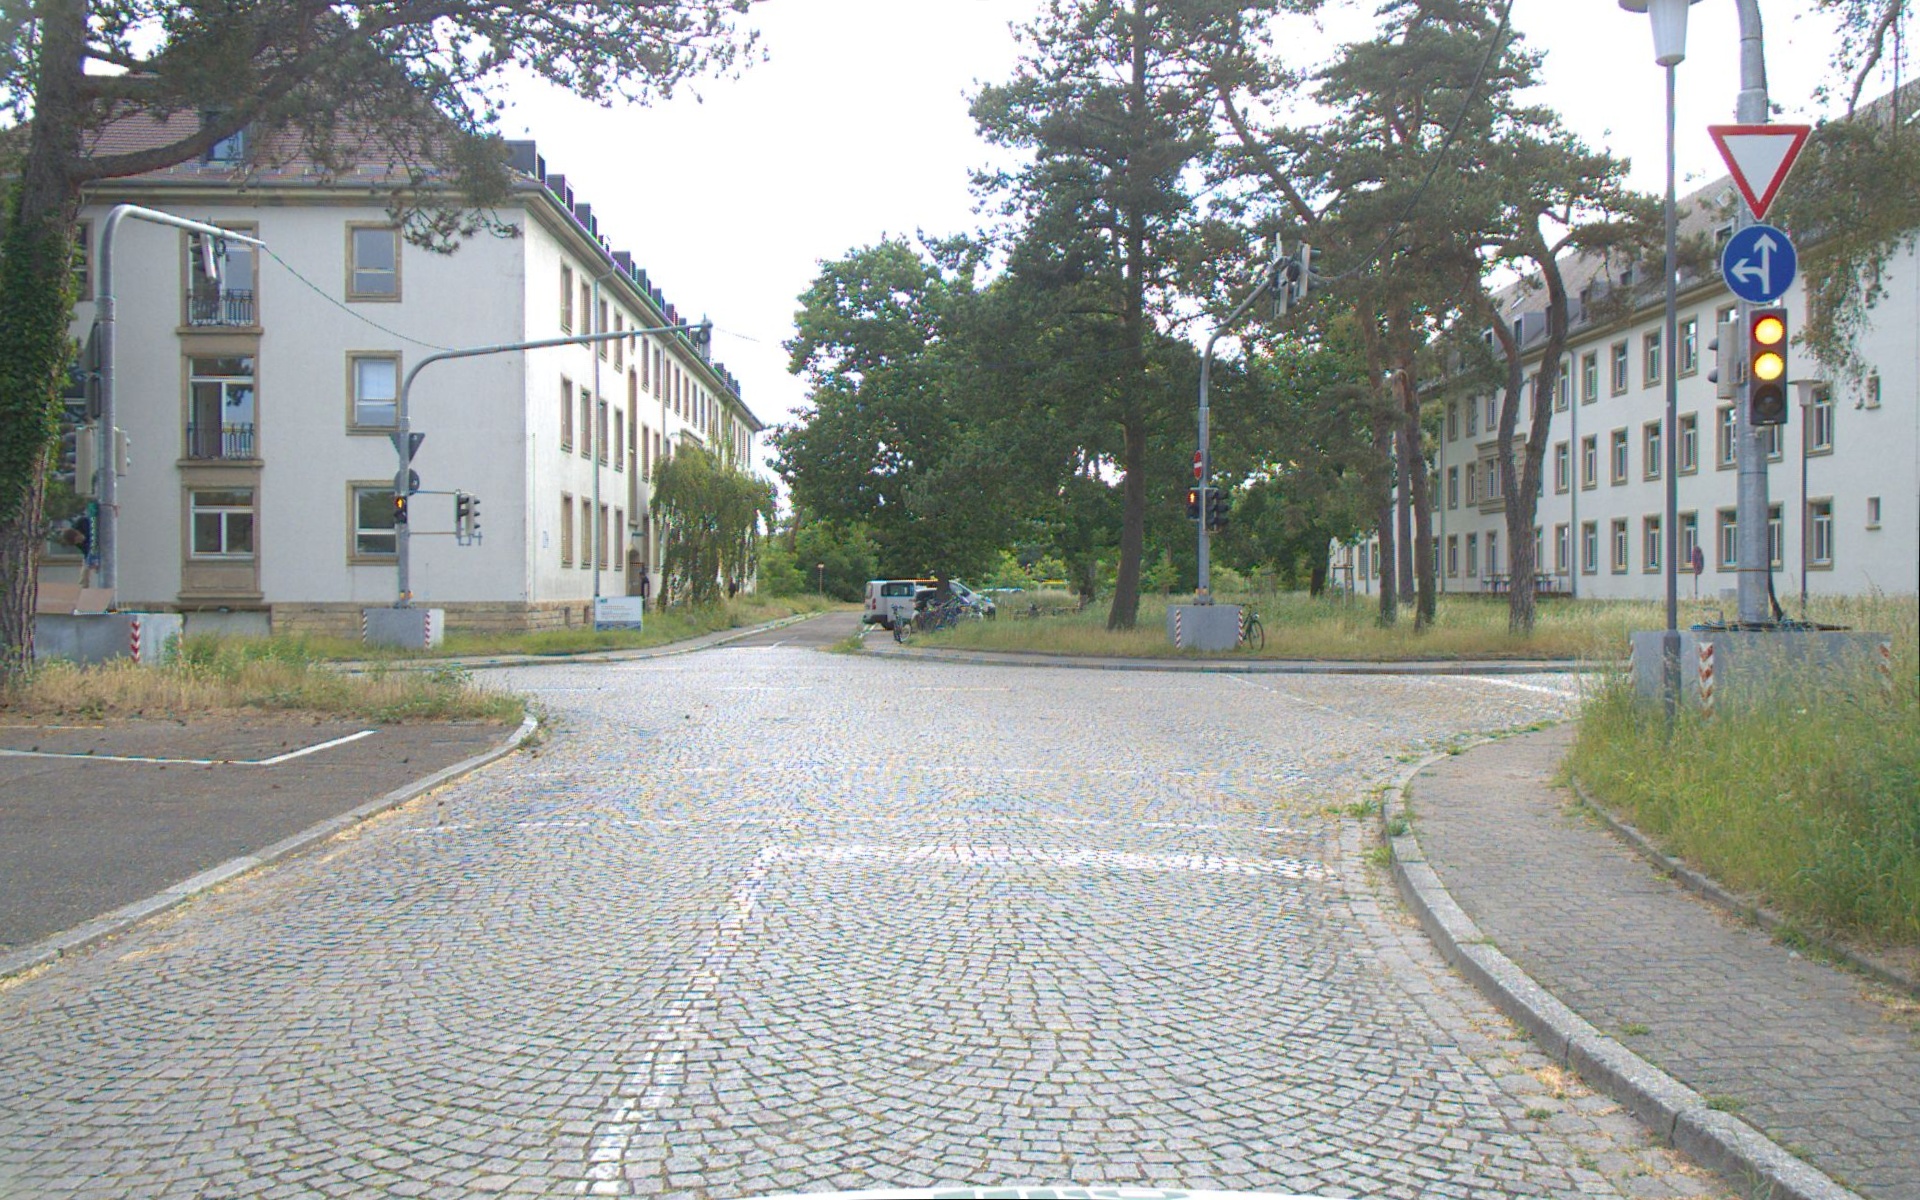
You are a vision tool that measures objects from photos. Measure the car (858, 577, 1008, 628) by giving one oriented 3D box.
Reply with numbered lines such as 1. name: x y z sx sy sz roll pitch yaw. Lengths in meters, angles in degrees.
1. car: -1.077 0.084 65.283 5.595 1.944 2.222 0 0 -14

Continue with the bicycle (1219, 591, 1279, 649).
1. bicycle: 6.147 0.405 35.318 0.890 1.197 1.873 0 0 -2

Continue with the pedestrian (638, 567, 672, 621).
1. pedestrian: -11.542 -0.229 62.600 1.064 2.049 1.022 0 0 4

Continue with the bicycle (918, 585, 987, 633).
1. bicycle: -0.224 0.268 48.710 2.028 1.402 0.620 0 0 -1

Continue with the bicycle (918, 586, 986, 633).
1. bicycle: -0.237 0.269 49.506 2.028 1.402 0.620 0 0 -1

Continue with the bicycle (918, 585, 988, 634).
1. bicycle: -0.203 0.267 48.085 2.028 1.402 0.620 0 0 -1

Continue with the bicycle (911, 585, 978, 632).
1. bicycle: -0.481 0.260 50.298 2.028 1.402 0.620 0 0 -1

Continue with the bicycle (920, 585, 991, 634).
1. bicycle: -0.142 0.268 47.416 2.028 1.402 0.620 0 0 -1

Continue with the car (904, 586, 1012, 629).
1. car: -0.111 0.254 61.940 3.857 1.571 1.997 0 0 -6

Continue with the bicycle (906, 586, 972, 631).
1. bicycle: -0.655 0.259 51.779 2.028 1.402 0.620 0 0 -1

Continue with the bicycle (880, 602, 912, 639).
1. bicycle: -1.756 0.558 45.575 0.605 0.980 2.078 0 0 5
